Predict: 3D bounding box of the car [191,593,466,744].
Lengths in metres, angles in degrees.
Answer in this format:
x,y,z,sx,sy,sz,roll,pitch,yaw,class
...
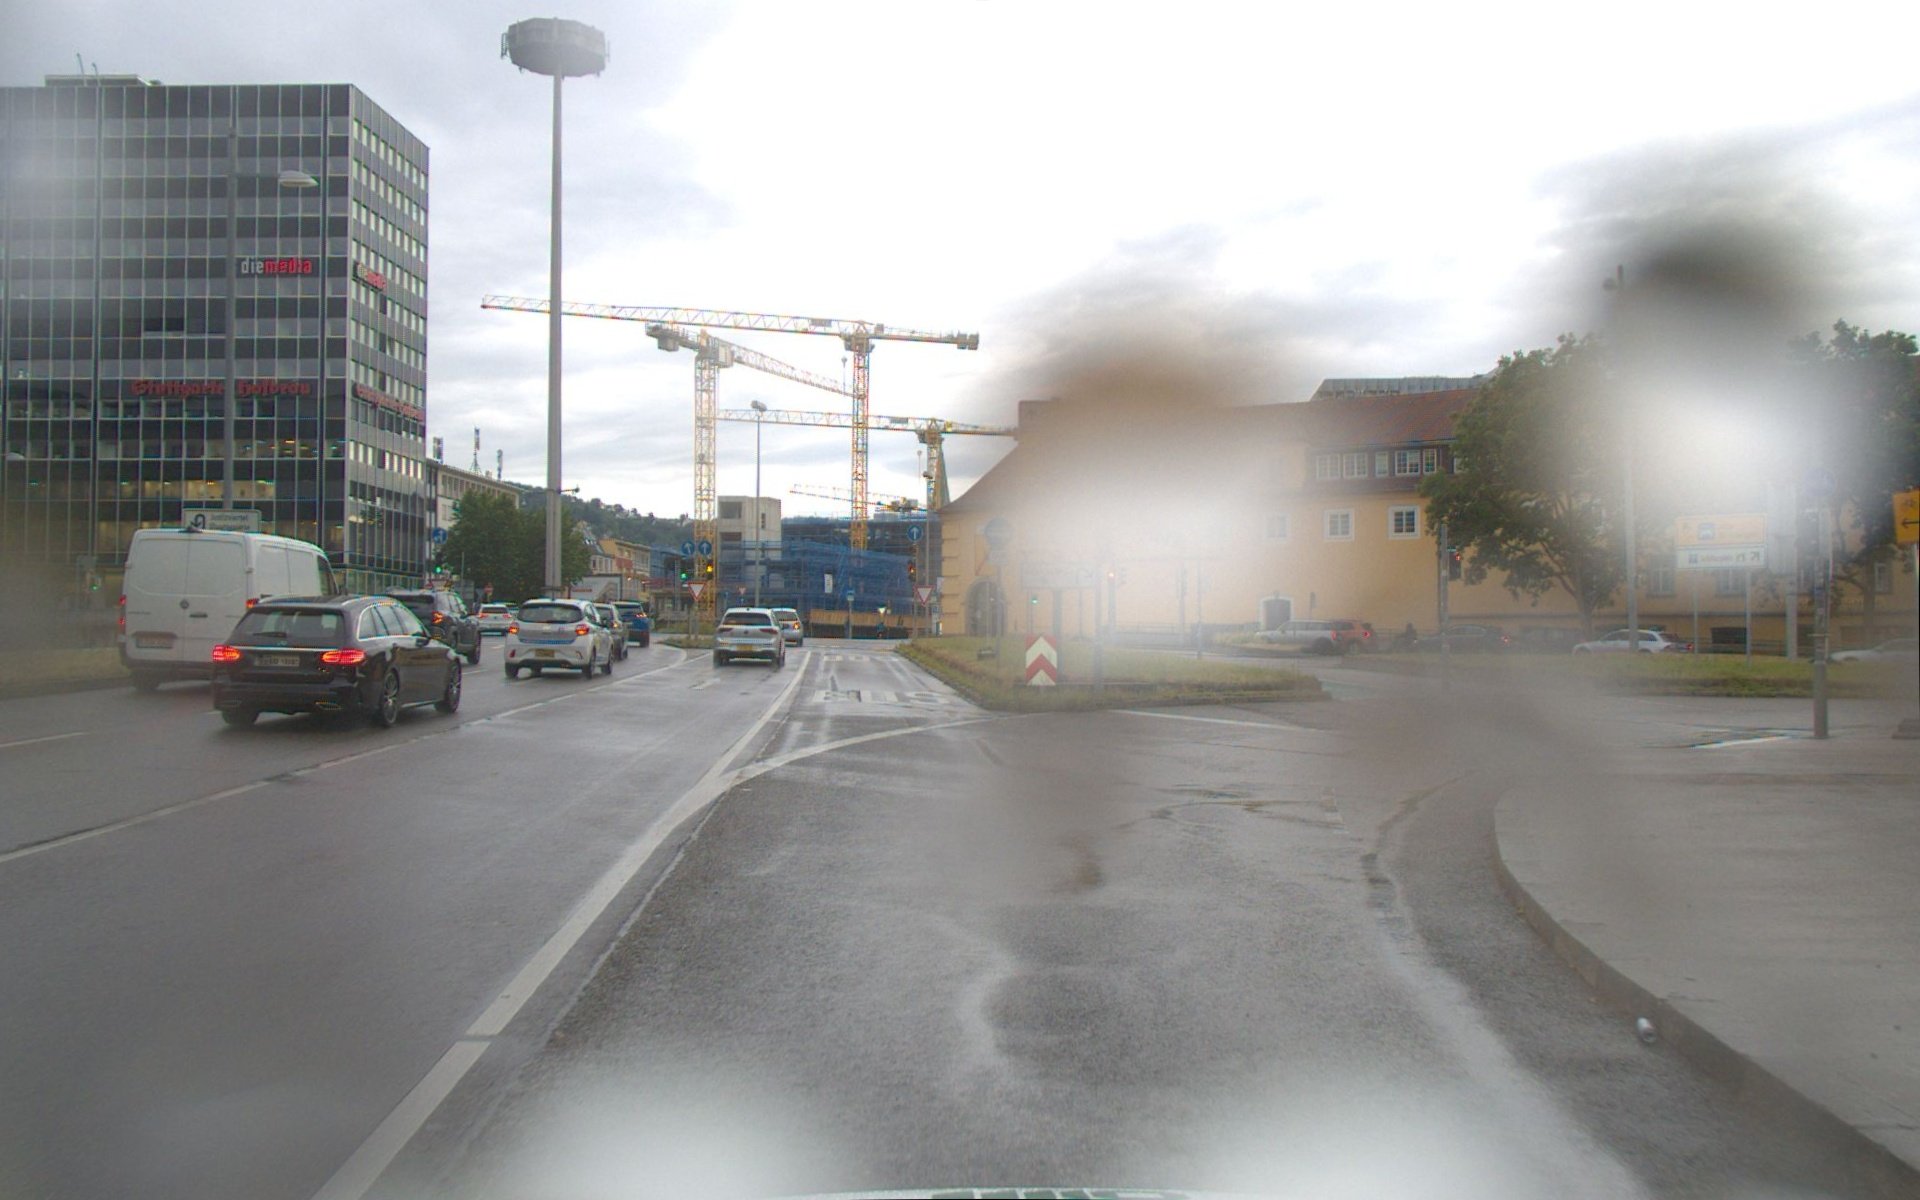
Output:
x,y,z,sx,sy,sz,roll,pitch,yaw,class
-7.065,0.739,18.891,1.792,1.521,3.398,1,-1,0,car

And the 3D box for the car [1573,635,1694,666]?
x,y,z,sx,sy,sz,roll,pitch,yaw,class
26.445,2.007,65.034,1.523,1.160,4.325,4,-4,-34,car

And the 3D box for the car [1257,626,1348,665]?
x,y,z,sx,sy,sz,roll,pitch,yaw,class
14.010,1.860,67.621,3.333,1.508,1.834,0,-4,24,car

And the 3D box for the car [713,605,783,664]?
x,y,z,sx,sy,sz,roll,pitch,yaw,class
-5.444,0.908,42.712,1.414,1.383,2.411,1,-3,1,car

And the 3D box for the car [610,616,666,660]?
x,y,z,sx,sy,sz,roll,pitch,yaw,class
-11.272,1.349,58.050,1.463,1.394,3.031,2,-3,-2,car

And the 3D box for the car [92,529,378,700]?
x,y,z,sx,sy,sz,roll,pitch,yaw,class
-11.067,0.344,25.749,2.246,2.355,5.003,1,-3,-2,car

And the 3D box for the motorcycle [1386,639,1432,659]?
x,y,z,sx,sy,sz,roll,pitch,yaw,class
20.099,2.197,74.041,1.923,0.867,0.546,0,-4,20,motorcycle

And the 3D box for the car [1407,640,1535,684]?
x,y,z,sx,sy,sz,roll,pitch,yaw,class
21.359,2.578,69.199,4.729,1.739,1.989,-1,-4,41,car

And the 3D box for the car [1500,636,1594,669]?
x,y,z,sx,sy,sz,roll,pitch,yaw,class
25.051,2.245,70.660,3.532,1.360,1.572,-1,-4,34,car

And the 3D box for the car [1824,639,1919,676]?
x,y,z,sx,sy,sz,roll,pitch,yaw,class
36.548,2.242,64.265,5.188,1.385,1.554,-1,-4,31,car

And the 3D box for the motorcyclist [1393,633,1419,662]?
x,y,z,sx,sy,sz,roll,pitch,yaw,class
19.966,2.131,74.049,1.053,1.295,0.692,0,-4,19,motorcyclist

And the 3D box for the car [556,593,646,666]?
x,y,z,sx,sy,sz,roll,pitch,yaw,class
-9.446,0.828,43.751,1.681,1.758,3.492,2,-3,-2,car

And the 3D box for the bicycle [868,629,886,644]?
x,y,z,sx,sy,sz,roll,pitch,yaw,class
-6.210,2.750,123.826,0.866,1.028,1.982,2,-3,-17,bicycle

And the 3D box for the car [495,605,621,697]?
x,y,z,sx,sy,sz,roll,pitch,yaw,class
-7.909,1.061,32.834,1.844,1.682,3.453,2,-3,-5,car

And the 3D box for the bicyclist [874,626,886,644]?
x,y,z,sx,sy,sz,roll,pitch,yaw,class
-5.989,2.589,123.573,0.693,1.298,0.631,2,-4,-18,bicyclist

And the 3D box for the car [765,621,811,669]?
x,y,z,sx,sy,sz,roll,pitch,yaw,class
-6.848,1.767,65.652,1.636,1.772,3.281,2,0,-8,car

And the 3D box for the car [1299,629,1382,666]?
x,y,z,sx,sy,sz,roll,pitch,yaw,class
16.712,2.083,72.595,3.330,1.498,1.652,0,-4,22,car

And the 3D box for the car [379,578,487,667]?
x,y,z,sx,sy,sz,roll,pitch,yaw,class
-11.224,0.525,35.406,1.435,1.736,3.138,2,-3,-4,car

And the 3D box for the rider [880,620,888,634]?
x,y,z,sx,sy,sz,roll,pitch,yaw,class
-6.002,2.167,130.714,0.606,1.057,0.533,1,-3,0,rider

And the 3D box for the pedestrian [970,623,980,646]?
x,y,z,sx,sy,sz,roll,pitch,yaw,class
0.920,2.150,102.664,0.447,1.392,0.442,-1,-4,36,pedestrian
